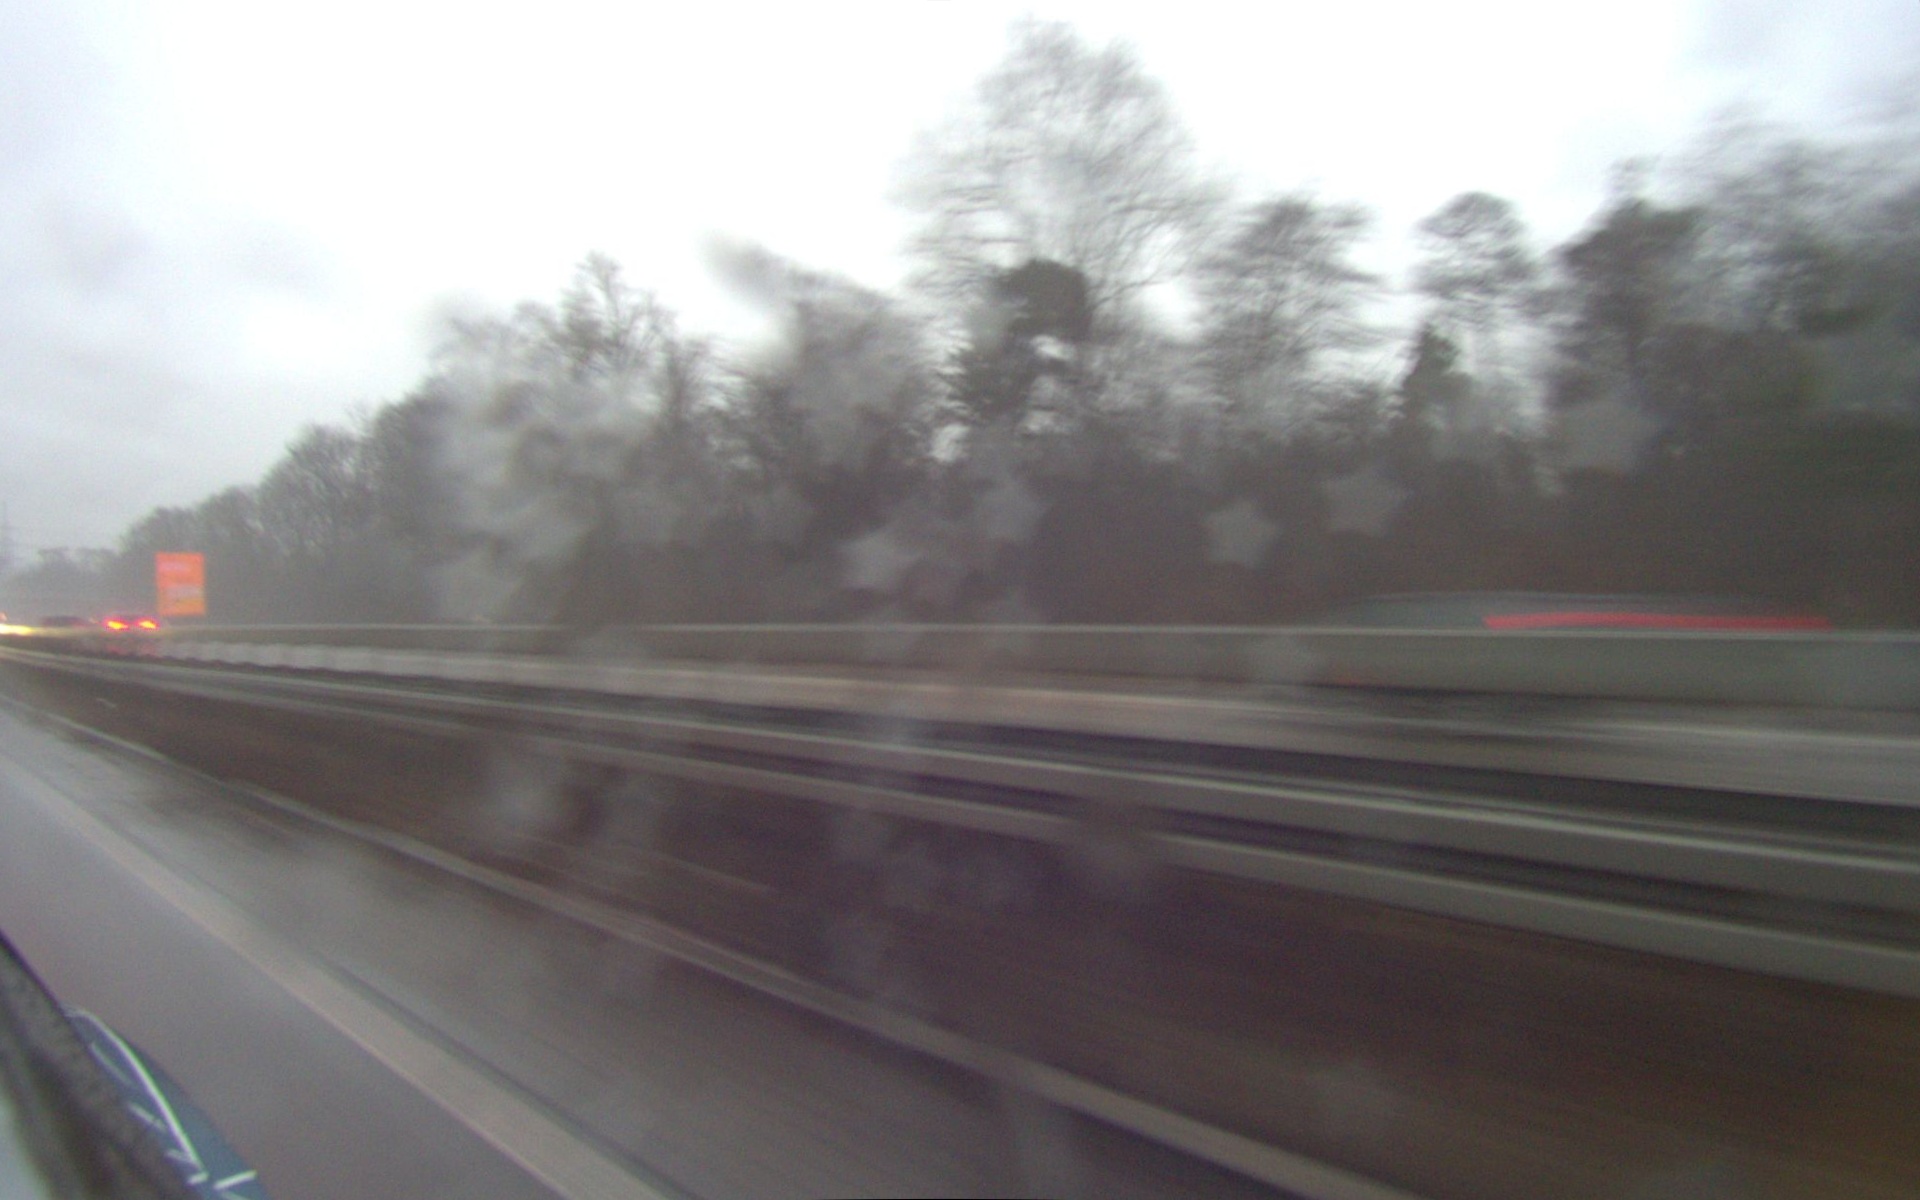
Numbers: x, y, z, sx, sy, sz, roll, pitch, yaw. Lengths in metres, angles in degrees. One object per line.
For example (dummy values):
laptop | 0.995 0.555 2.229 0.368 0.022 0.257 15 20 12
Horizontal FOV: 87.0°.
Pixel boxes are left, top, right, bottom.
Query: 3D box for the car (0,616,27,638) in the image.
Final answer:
car | -84.197 2.423 89.803 3.894 1.880 1.614 -1 -1 41

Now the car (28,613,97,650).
car | -39.998 1.382 45.094 3.997 1.579 1.790 -1 -1 41

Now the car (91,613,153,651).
car | -45.780 1.739 55.257 4.710 1.965 1.972 -1 -1 42

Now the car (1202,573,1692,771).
car | 4.935 0.555 10.559 4.270 1.585 1.974 1 4 40
